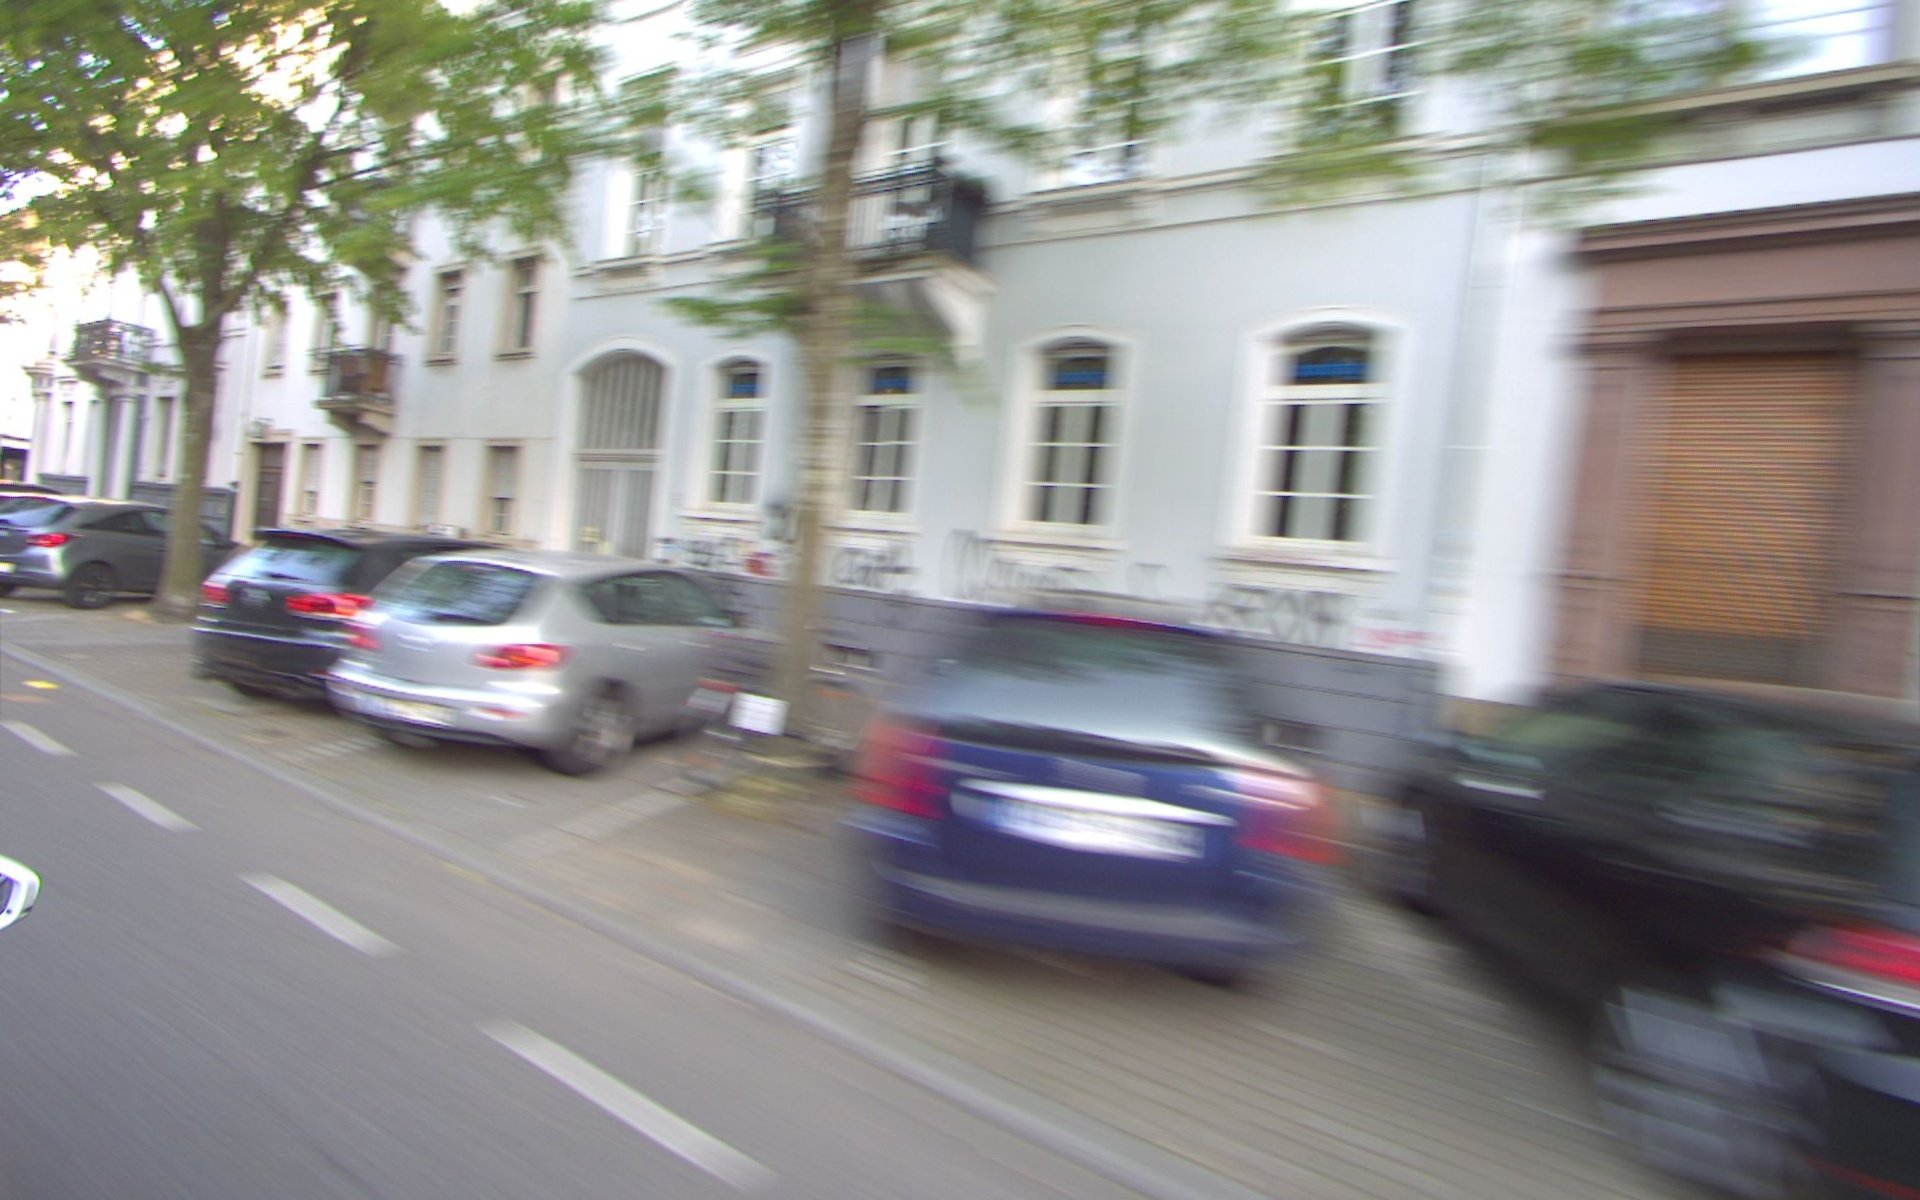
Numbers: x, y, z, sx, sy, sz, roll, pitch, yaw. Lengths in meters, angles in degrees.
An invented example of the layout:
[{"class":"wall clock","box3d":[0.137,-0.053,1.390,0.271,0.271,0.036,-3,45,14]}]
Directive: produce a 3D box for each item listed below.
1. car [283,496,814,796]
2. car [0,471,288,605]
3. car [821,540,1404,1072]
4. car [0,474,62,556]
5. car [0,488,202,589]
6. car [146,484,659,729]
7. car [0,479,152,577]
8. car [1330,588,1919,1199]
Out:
[{"class":"car","box3d":[-2.850,0.241,8.024,1.805,1.625,3.952,6,2,15]},{"class":"car","box3d":[-12.172,-0.821,14.722,1.805,1.624,3.954,5,0,3]},{"class":"car","box3d":[0.601,0.650,5.362,1.805,1.625,3.952,5,2,3]},{"class":"car","box3d":[-22.381,-1.988,21.891,1.805,1.789,3.952,6,2,8]},{"class":"car","box3d":[-14.811,-0.985,16.679,1.628,1.463,3.649,5,1,0]},{"class":"car","box3d":[-4.748,0.033,9.311,1.805,1.625,3.952,6,2,16]},{"class":"car","box3d":[-17.343,-1.354,18.243,1.805,1.624,3.954,6,1,8]},{"class":"car","box3d":[3.074,0.924,4.103,1.713,1.626,3.949,5,4,3]}]
